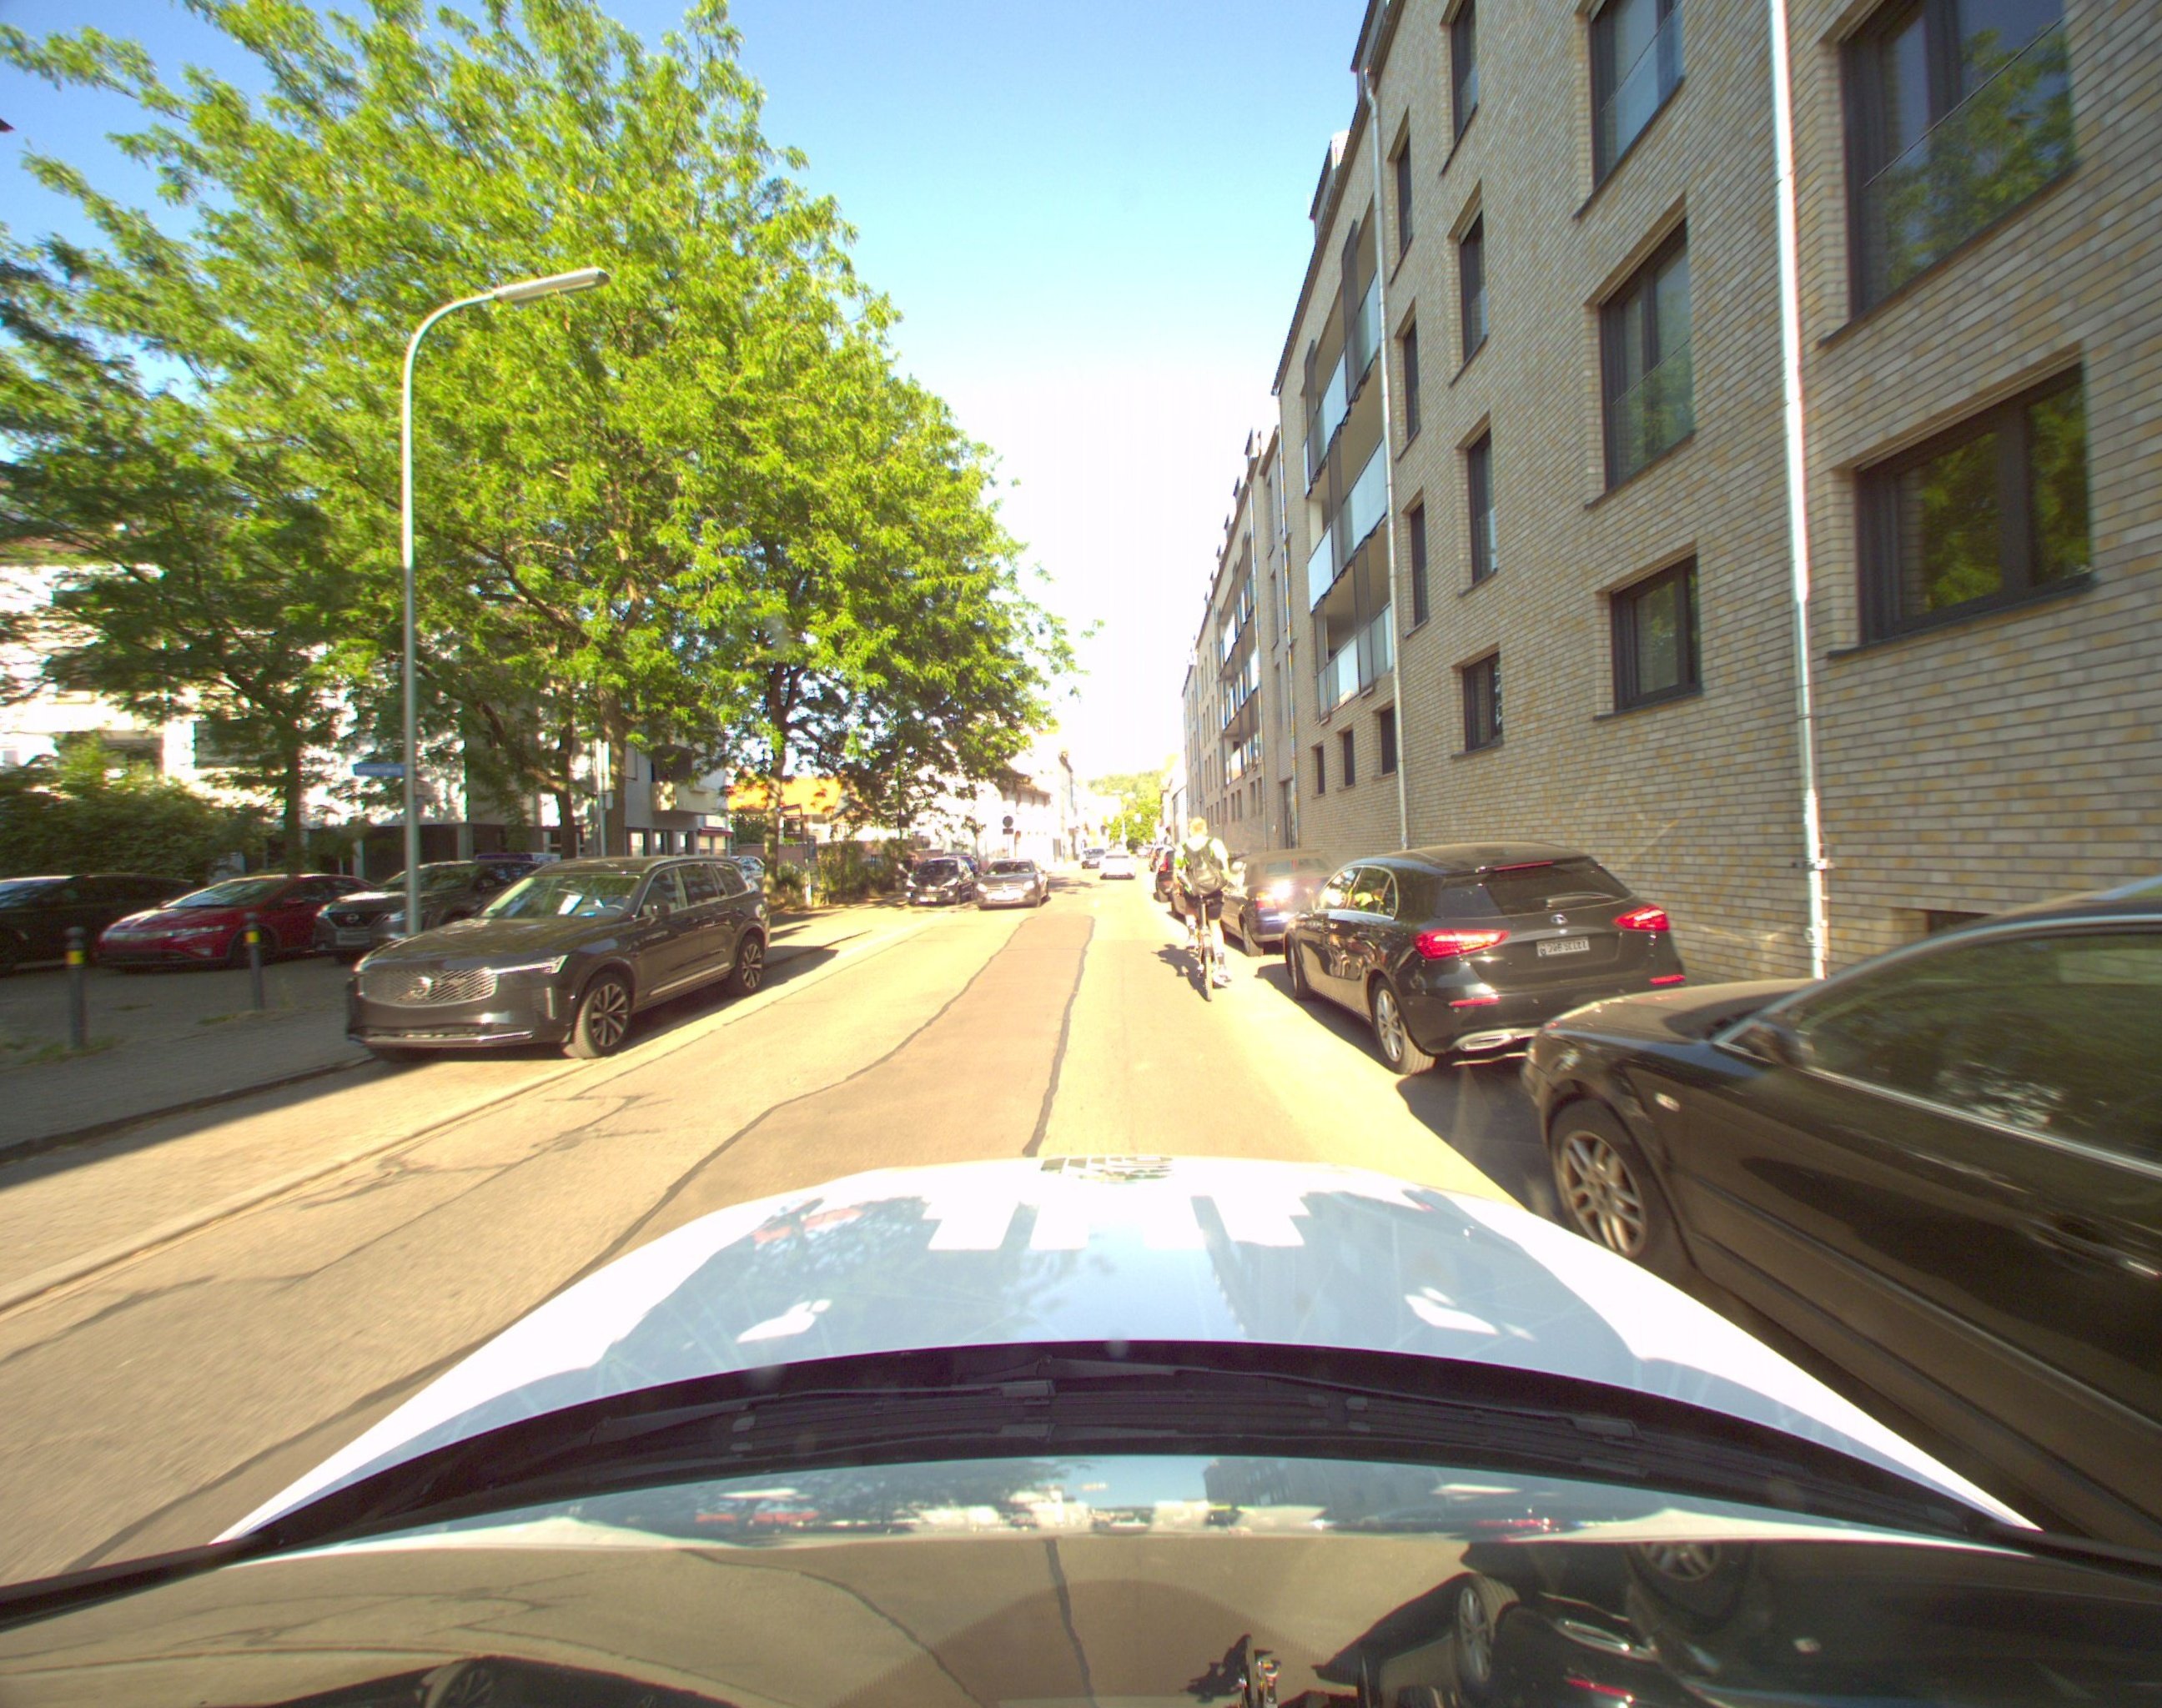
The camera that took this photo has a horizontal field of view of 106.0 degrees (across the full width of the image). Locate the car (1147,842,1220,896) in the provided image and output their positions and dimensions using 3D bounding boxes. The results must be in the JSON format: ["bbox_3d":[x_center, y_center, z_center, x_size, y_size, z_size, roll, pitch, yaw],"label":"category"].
[{"bbox_3d":[3.160,0.407,25.884,1.809,1.466,4.272,-4,1,2],"label":"car"}]

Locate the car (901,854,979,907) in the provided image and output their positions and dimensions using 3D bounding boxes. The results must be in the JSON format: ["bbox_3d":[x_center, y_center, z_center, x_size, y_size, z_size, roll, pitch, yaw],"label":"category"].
[{"bbox_3d":[-4.603,0.811,27.144,1.690,1.491,4.002,-4,1,2],"label":"car"}]

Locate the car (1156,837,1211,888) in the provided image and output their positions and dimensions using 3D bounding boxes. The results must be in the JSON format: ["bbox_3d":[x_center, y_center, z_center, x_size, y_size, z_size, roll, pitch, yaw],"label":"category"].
[{"bbox_3d":[4.037,0.262,31.844,1.879,1.712,4.785,-3,1,8],"label":"car"}]

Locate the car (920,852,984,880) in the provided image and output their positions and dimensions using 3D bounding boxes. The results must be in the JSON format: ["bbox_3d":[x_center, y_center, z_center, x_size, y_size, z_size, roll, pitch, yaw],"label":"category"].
[{"bbox_3d":[-8.641,0.772,54.834,3.751,1.529,2.003,-4,1,4],"label":"car"}]

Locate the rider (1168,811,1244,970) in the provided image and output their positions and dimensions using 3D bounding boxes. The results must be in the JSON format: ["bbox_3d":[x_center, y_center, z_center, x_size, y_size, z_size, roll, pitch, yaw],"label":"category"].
[{"bbox_3d":[1.295,0.366,8.598,0.651,1.562,1.083,0,-1,2],"label":"rider"}]

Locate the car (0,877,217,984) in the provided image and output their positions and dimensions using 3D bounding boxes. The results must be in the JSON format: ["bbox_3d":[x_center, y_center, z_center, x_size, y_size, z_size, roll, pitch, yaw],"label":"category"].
[{"bbox_3d":[-16.576,1.215,12.812,1.678,1.440,3.817,-4,1,4],"label":"car"}]

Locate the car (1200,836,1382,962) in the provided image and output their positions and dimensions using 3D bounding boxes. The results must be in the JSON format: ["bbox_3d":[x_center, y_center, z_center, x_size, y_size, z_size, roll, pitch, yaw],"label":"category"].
[{"bbox_3d":[3.086,0.569,12.868,1.658,1.516,4.218,-5,1,0],"label":"car"}]

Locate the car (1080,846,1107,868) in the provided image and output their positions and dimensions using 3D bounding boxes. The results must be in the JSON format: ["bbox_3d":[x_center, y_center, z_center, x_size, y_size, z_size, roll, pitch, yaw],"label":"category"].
[{"bbox_3d":[0.982,0.199,64.558,1.932,1.575,4.320,-4,1,1],"label":"car"}]

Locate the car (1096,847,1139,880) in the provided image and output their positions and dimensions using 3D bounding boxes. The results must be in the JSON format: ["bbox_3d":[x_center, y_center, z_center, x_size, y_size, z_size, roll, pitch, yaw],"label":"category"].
[{"bbox_3d":[1.850,0.448,41.474,1.986,1.466,4.002,-4,1,2],"label":"car"}]

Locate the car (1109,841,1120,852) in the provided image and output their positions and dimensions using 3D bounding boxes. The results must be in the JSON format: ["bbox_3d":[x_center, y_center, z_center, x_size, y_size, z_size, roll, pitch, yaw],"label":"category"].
[{"bbox_3d":[6.609,-1.433,159.782,1.986,2.013,4.003,-3,1,2],"label":"car"}]

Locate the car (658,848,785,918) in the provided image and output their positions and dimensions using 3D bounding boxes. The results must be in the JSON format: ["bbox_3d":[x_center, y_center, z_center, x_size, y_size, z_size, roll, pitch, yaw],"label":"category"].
[{"bbox_3d":[-11.336,0.816,26.117,1.838,1.895,4.905,-3,1,-1],"label":"car"}]

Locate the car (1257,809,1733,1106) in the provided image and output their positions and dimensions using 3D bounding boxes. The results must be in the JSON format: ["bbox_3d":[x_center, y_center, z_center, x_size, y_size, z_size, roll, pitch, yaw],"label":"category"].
[{"bbox_3d":[2.883,0.572,7.008,1.719,1.529,4.628,-7,0,2],"label":"car"}]

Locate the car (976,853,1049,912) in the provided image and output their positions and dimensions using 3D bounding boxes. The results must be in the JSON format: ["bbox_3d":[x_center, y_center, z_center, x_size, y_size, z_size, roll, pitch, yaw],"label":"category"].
[{"bbox_3d":[-1.956,0.772,24.288,1.802,1.466,3.999,-4,1,-1],"label":"car"}]

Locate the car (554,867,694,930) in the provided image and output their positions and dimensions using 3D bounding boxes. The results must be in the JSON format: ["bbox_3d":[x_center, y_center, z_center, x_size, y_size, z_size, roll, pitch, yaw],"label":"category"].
[{"bbox_3d":[-13.855,1.291,24.973,2.068,1.575,3.808,-3,1,0],"label":"car"}]

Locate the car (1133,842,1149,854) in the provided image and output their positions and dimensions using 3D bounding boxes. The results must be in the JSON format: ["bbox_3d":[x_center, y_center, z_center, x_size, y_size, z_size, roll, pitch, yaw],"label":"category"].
[{"bbox_3d":[8.217,-0.790,111.756,1.985,1.466,4.005,-4,1,4],"label":"car"}]

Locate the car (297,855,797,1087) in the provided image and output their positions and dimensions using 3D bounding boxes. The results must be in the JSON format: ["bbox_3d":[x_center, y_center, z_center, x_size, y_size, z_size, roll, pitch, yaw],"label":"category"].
[{"bbox_3d":[-5.018,0.905,8.844,1.924,1.705,5.102,-1,1,1],"label":"car"}]

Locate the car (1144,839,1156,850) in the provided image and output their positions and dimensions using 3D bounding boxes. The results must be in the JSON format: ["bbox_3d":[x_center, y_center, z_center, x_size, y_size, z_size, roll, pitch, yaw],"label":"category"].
[{"bbox_3d":[12.963,-1.750,153.069,2.003,1.852,4.004,-2,1,3],"label":"car"}]

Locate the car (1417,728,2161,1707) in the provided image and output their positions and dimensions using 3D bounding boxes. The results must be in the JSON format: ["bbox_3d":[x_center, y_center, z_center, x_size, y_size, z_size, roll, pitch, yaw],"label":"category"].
[{"bbox_3d":[2.558,0.612,1.699,1.662,1.733,4.839,-4,1,0],"label":"car"}]

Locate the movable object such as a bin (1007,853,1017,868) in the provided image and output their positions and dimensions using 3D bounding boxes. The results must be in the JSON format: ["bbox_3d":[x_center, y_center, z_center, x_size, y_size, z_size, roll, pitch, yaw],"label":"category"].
[{"bbox_3d":[-5.269,0.490,61.977,0.596,1.094,0.752,-2,1,4],"label":"movable object such as a bin"}]

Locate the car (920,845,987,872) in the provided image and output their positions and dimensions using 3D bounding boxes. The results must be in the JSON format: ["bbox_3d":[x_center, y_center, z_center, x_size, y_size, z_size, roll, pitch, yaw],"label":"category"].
[{"bbox_3d":[-9.146,0.276,58.568,4.343,1.794,1.991,0,3,4],"label":"car"}]

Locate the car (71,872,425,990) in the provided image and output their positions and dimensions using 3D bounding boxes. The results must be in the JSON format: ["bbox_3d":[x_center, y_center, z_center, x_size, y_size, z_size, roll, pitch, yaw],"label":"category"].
[{"bbox_3d":[-13.638,1.140,13.818,1.573,1.441,4.425,-4,1,-4],"label":"car"}]

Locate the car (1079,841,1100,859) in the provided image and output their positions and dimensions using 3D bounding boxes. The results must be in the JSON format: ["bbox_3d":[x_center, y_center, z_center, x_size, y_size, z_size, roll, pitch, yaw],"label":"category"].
[{"bbox_3d":[0.857,-0.412,83.029,1.986,1.647,5.223,-3,1,1],"label":"car"}]

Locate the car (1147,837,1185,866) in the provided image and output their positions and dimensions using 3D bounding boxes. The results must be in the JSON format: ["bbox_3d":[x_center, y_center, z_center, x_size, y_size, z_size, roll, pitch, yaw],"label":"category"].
[{"bbox_3d":[5.439,-0.191,52.510,1.986,1.653,4.764,-3,1,1],"label":"car"}]

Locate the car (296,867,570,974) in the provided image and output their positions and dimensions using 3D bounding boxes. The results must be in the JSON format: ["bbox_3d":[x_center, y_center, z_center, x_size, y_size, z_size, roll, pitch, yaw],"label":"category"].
[{"bbox_3d":[-10.778,1.018,13.916,1.514,1.408,3.643,-4,1,4],"label":"car"}]

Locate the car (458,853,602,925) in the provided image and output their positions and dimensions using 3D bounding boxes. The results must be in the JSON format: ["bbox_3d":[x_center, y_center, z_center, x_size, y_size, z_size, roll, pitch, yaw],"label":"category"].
[{"bbox_3d":[-17.293,1.008,25.850,2.017,1.948,4.311,-3,1,-9],"label":"car"}]

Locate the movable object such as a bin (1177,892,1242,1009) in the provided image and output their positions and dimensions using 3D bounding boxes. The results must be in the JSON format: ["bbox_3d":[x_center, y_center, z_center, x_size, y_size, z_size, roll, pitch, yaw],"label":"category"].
[{"bbox_3d":[1.334,0.960,8.667,0.453,1.033,1.841,0,-1,2],"label":"movable object such as a bin"}]

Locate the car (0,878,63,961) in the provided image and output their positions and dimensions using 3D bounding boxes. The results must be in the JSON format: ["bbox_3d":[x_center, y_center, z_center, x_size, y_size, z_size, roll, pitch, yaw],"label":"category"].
[{"bbox_3d":[-21.888,1.358,14.062,1.931,1.560,5.189,-2,1,2],"label":"car"}]

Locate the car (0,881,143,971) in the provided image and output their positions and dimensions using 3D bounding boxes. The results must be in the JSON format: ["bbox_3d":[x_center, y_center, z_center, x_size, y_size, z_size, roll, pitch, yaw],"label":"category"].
[{"bbox_3d":[-19.689,1.315,13.795,1.988,1.475,4.830,-1,1,-1],"label":"car"}]

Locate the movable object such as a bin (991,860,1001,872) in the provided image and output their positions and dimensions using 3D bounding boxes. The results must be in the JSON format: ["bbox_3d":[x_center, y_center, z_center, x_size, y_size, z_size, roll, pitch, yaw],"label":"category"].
[{"bbox_3d":[-6.364,0.906,60.968,0.596,0.872,0.606,-4,0,1],"label":"movable object such as a bin"}]

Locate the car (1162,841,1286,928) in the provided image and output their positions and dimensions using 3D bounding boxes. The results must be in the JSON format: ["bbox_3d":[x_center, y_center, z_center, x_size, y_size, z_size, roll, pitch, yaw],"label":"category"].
[{"bbox_3d":[2.904,0.546,17.513,1.691,1.467,4.718,-5,1,-1],"label":"car"}]
